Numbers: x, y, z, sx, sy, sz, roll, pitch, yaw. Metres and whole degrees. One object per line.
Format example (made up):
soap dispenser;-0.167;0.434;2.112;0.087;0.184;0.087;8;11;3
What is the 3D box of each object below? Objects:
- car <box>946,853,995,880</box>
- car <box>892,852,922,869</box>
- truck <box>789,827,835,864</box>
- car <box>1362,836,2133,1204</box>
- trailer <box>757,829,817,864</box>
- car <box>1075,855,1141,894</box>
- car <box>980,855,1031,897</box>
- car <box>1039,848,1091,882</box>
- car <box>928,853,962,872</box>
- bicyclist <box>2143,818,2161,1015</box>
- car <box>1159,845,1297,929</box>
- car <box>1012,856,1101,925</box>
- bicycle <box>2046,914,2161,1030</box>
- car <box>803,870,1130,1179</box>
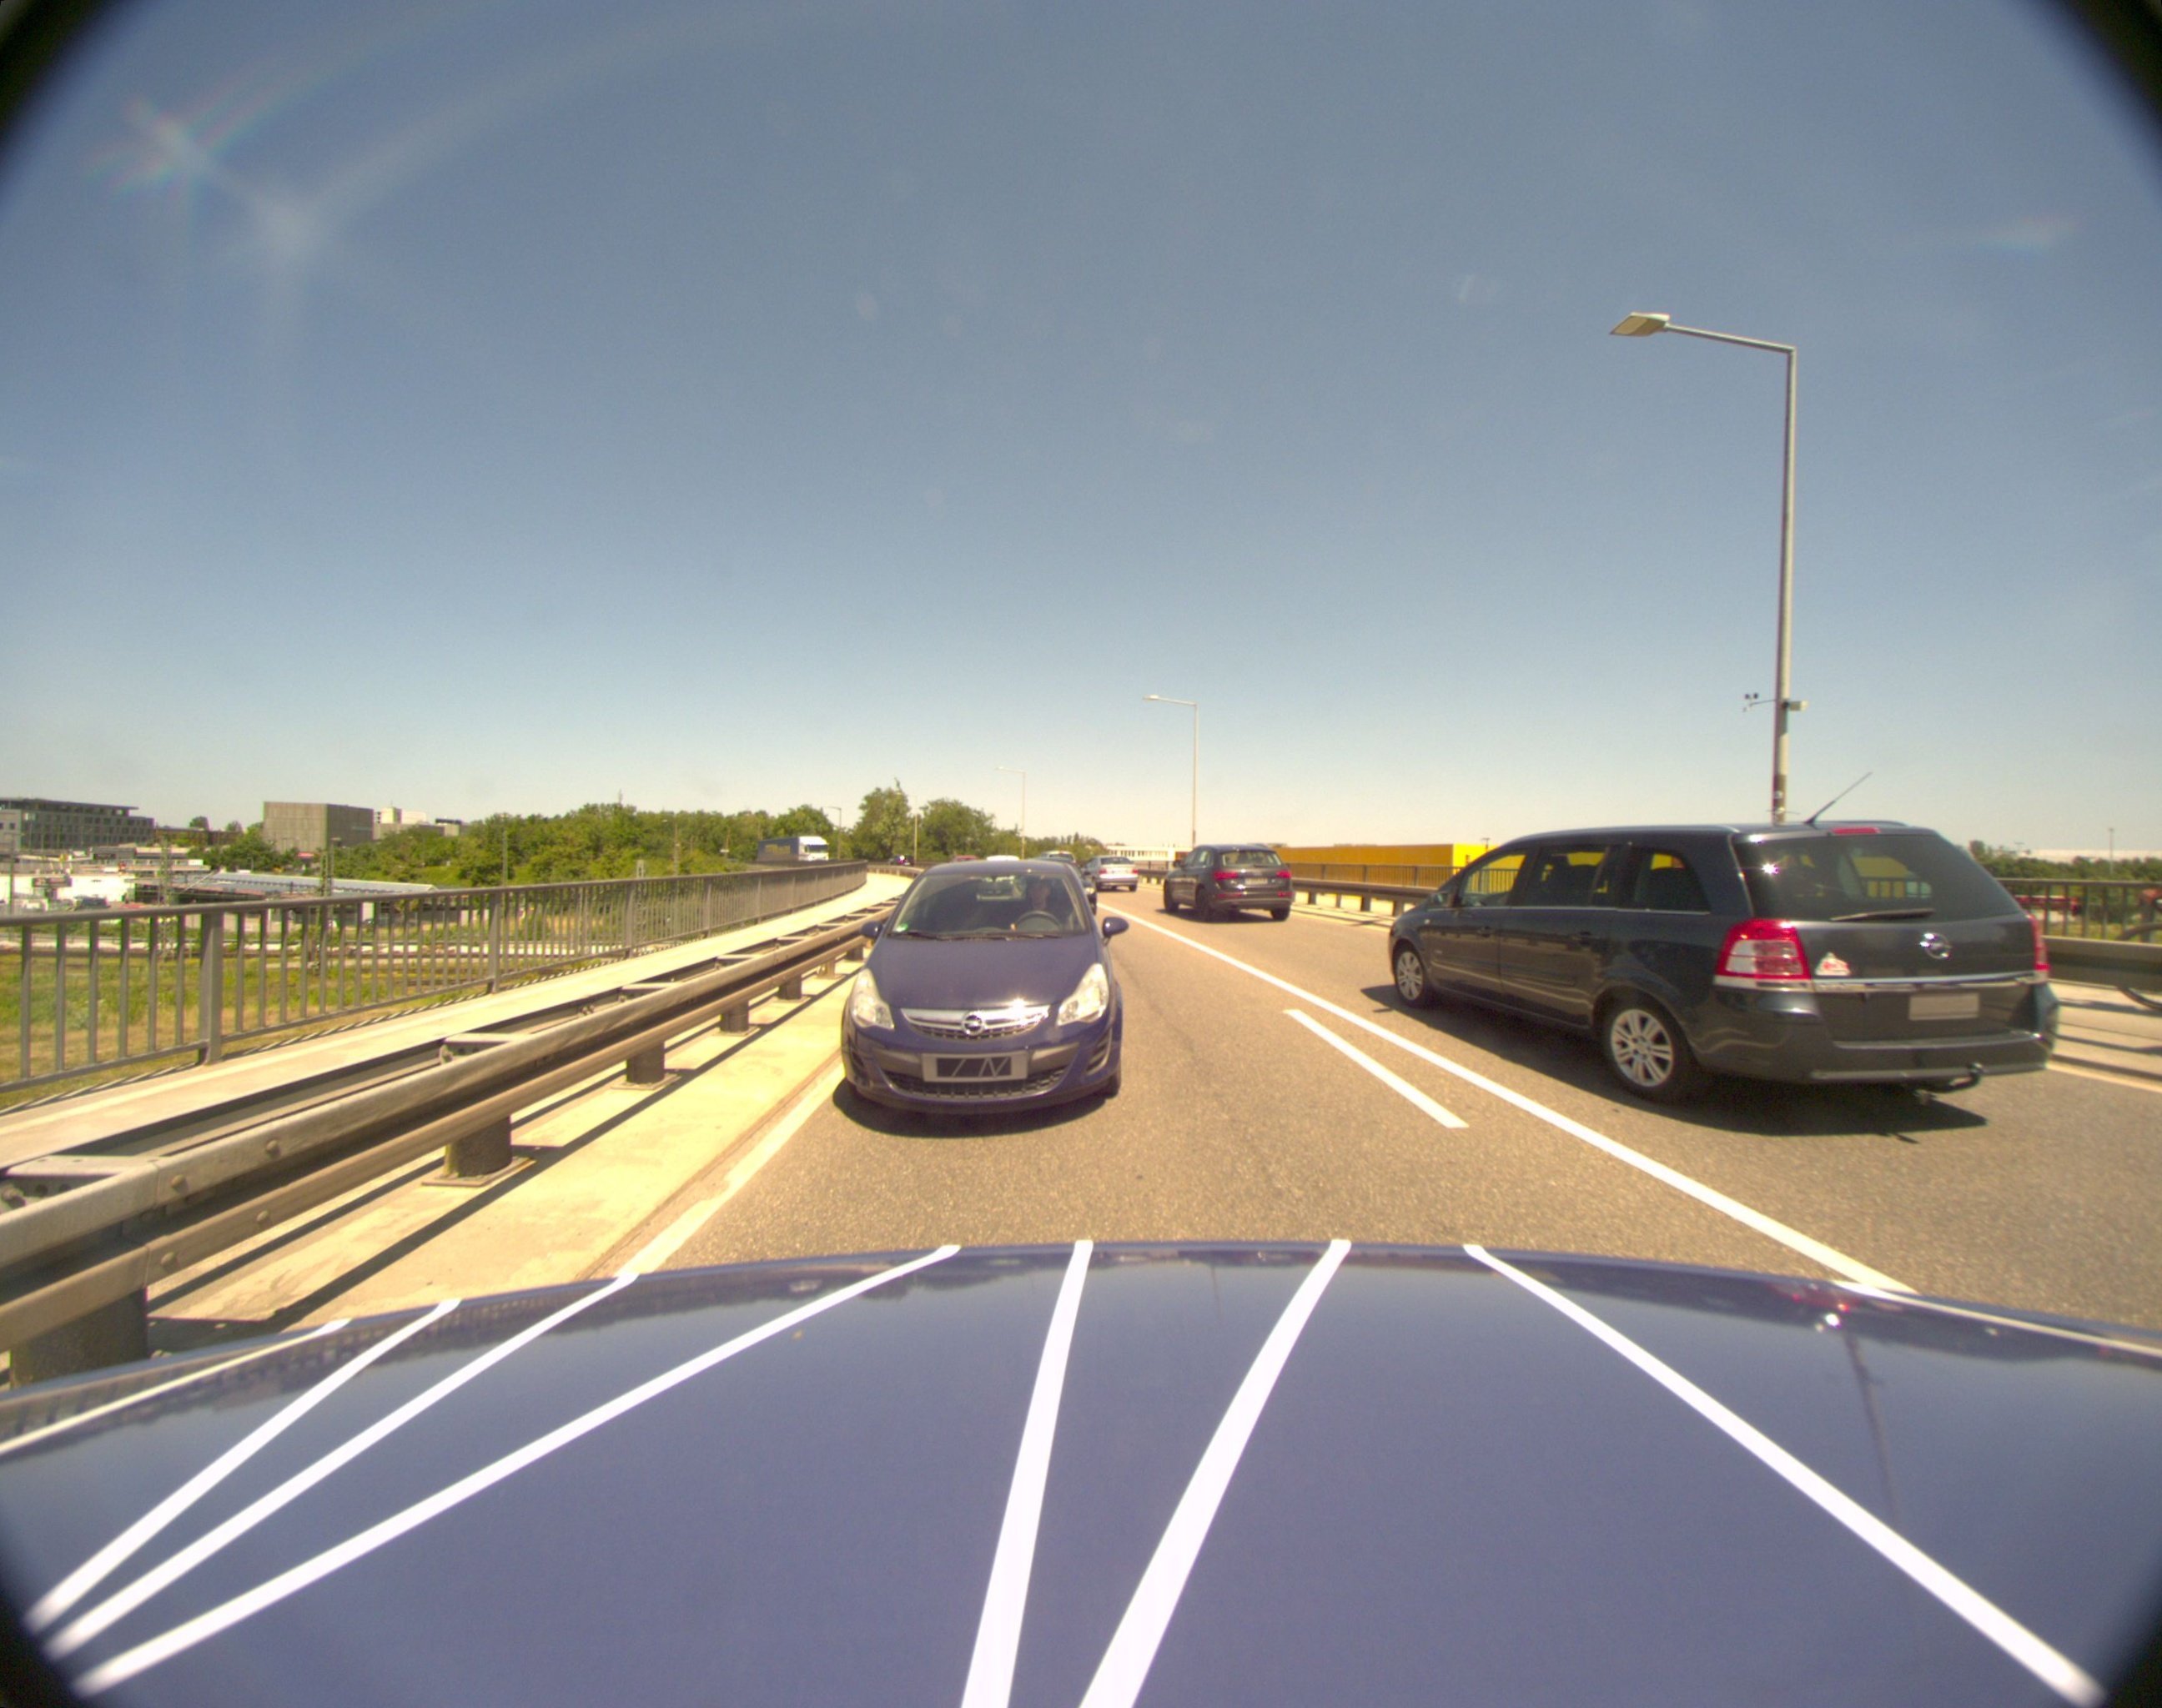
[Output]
car;-6.430;0.665;43.831;1.797;1.446;4.514;-1;0;-21
car;-17.743;0.634;77.224;1.781;1.616;4.243;-1;1;-30
truck;-32.289;-0.969;91.114;2.701;4.205;6.820;-4;2;-42
car;3.880;0.737;5.592;1.712;1.617;4.250;-1;0;-5
trailer;-37.768;-0.930;97.250;2.707;4.211;12.677;-3;2;-42
car;0.991;0.743;30.025;1.703;1.368;3.995;-1;1;-12
car;-3.056;0.799;29.971;1.795;1.447;4.519;-2;1;-8
car;-0.891;0.525;39.172;1.743;1.571;4.171;-2;1;-14
car;-11.049;0.669;61.384;1.780;1.430;4.383;-1;1;-23
bicyclist;8.618;0.480;5.508;0.585;1.512;0.895;-1;1;-5
car;3.167;0.653;17.300;1.807;1.631;4.297;-1;0;-7
car;-0.749;0.810;19.243;1.795;1.447;4.520;-2;1;-7
bicycle;8.634;0.940;5.529;0.590;0.828;1.990;-1;1;-5
car;-0.698;0.921;5.941;1.645;1.431;3.998;-2;1;-3
